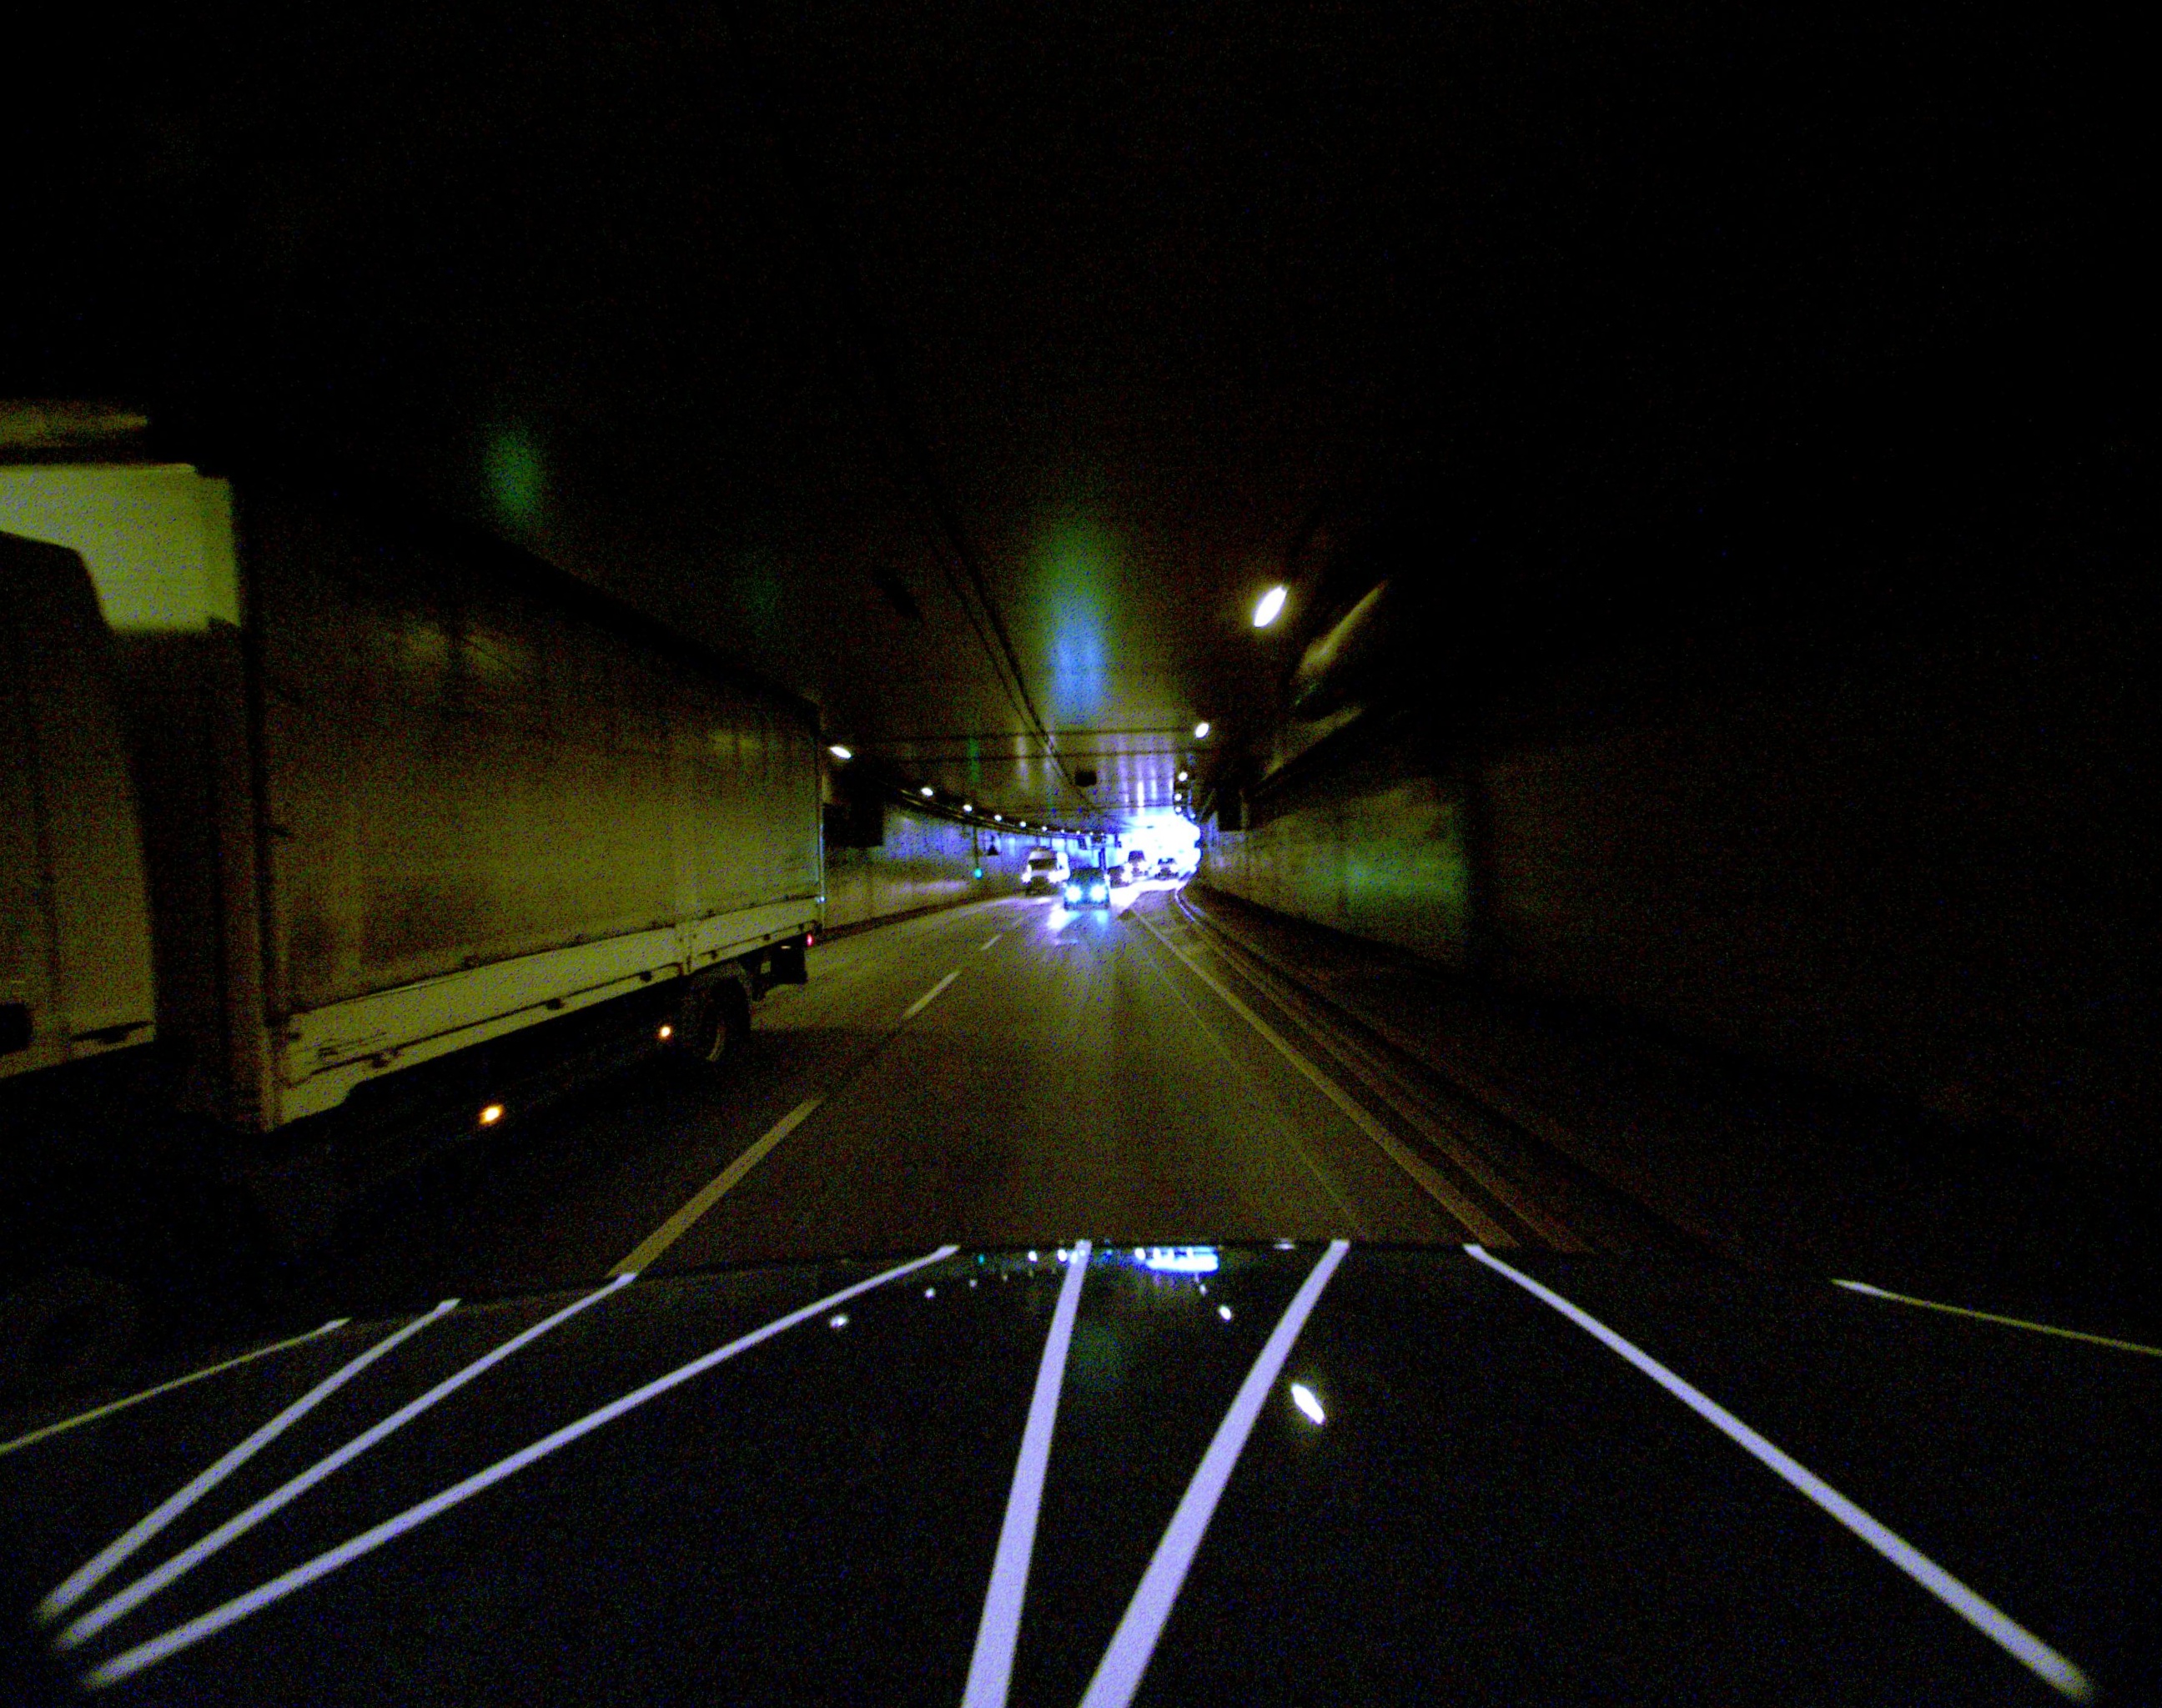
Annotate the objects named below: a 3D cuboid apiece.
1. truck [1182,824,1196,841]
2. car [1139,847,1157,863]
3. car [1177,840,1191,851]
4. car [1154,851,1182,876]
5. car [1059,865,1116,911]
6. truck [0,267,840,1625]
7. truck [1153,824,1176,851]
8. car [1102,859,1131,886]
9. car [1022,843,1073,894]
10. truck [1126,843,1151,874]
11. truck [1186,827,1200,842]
[{"bbox_3d":[24.765,-4.954,173.982,2.492,3.370,6.378,-5,3,13],"label":"truck"},{"bbox_3d":[8.632,0.148,97.414,1.638,1.662,3.717,-5,3,13],"label":"car"},{"bbox_3d":[18.053,-1.506,132.949,1.949,1.526,4.000,-5,4,12],"label":"car"},{"bbox_3d":[7.734,0.825,67.278,1.934,1.918,4.199,-5,1,13],"label":"car"},{"bbox_3d":[0.310,1.212,28.415,1.638,1.551,3.719,-2,-1,7],"label":"car"},{"bbox_3d":[-3.793,0.270,4.065,2.560,3.162,7.246,-2,-1,0],"label":"truck"},{"bbox_3d":[16.038,-3.321,144.916,2.884,4.448,10.457,-5,3,13],"label":"truck"},{"bbox_3d":[2.652,1.303,55.265,1.764,1.552,3.819,-5,2,6],"label":"car"},{"bbox_3d":[-1.965,0.888,47.344,2.106,2.830,6.865,-3,-1,6],"label":"car"},{"bbox_3d":[5.947,0.392,77.359,2.073,2.526,6.023,-5,3,7],"label":"truck"},{"bbox_3d":[22.833,-3.991,155.092,2.137,2.713,5.673,-5,3,13],"label":"truck"}]
